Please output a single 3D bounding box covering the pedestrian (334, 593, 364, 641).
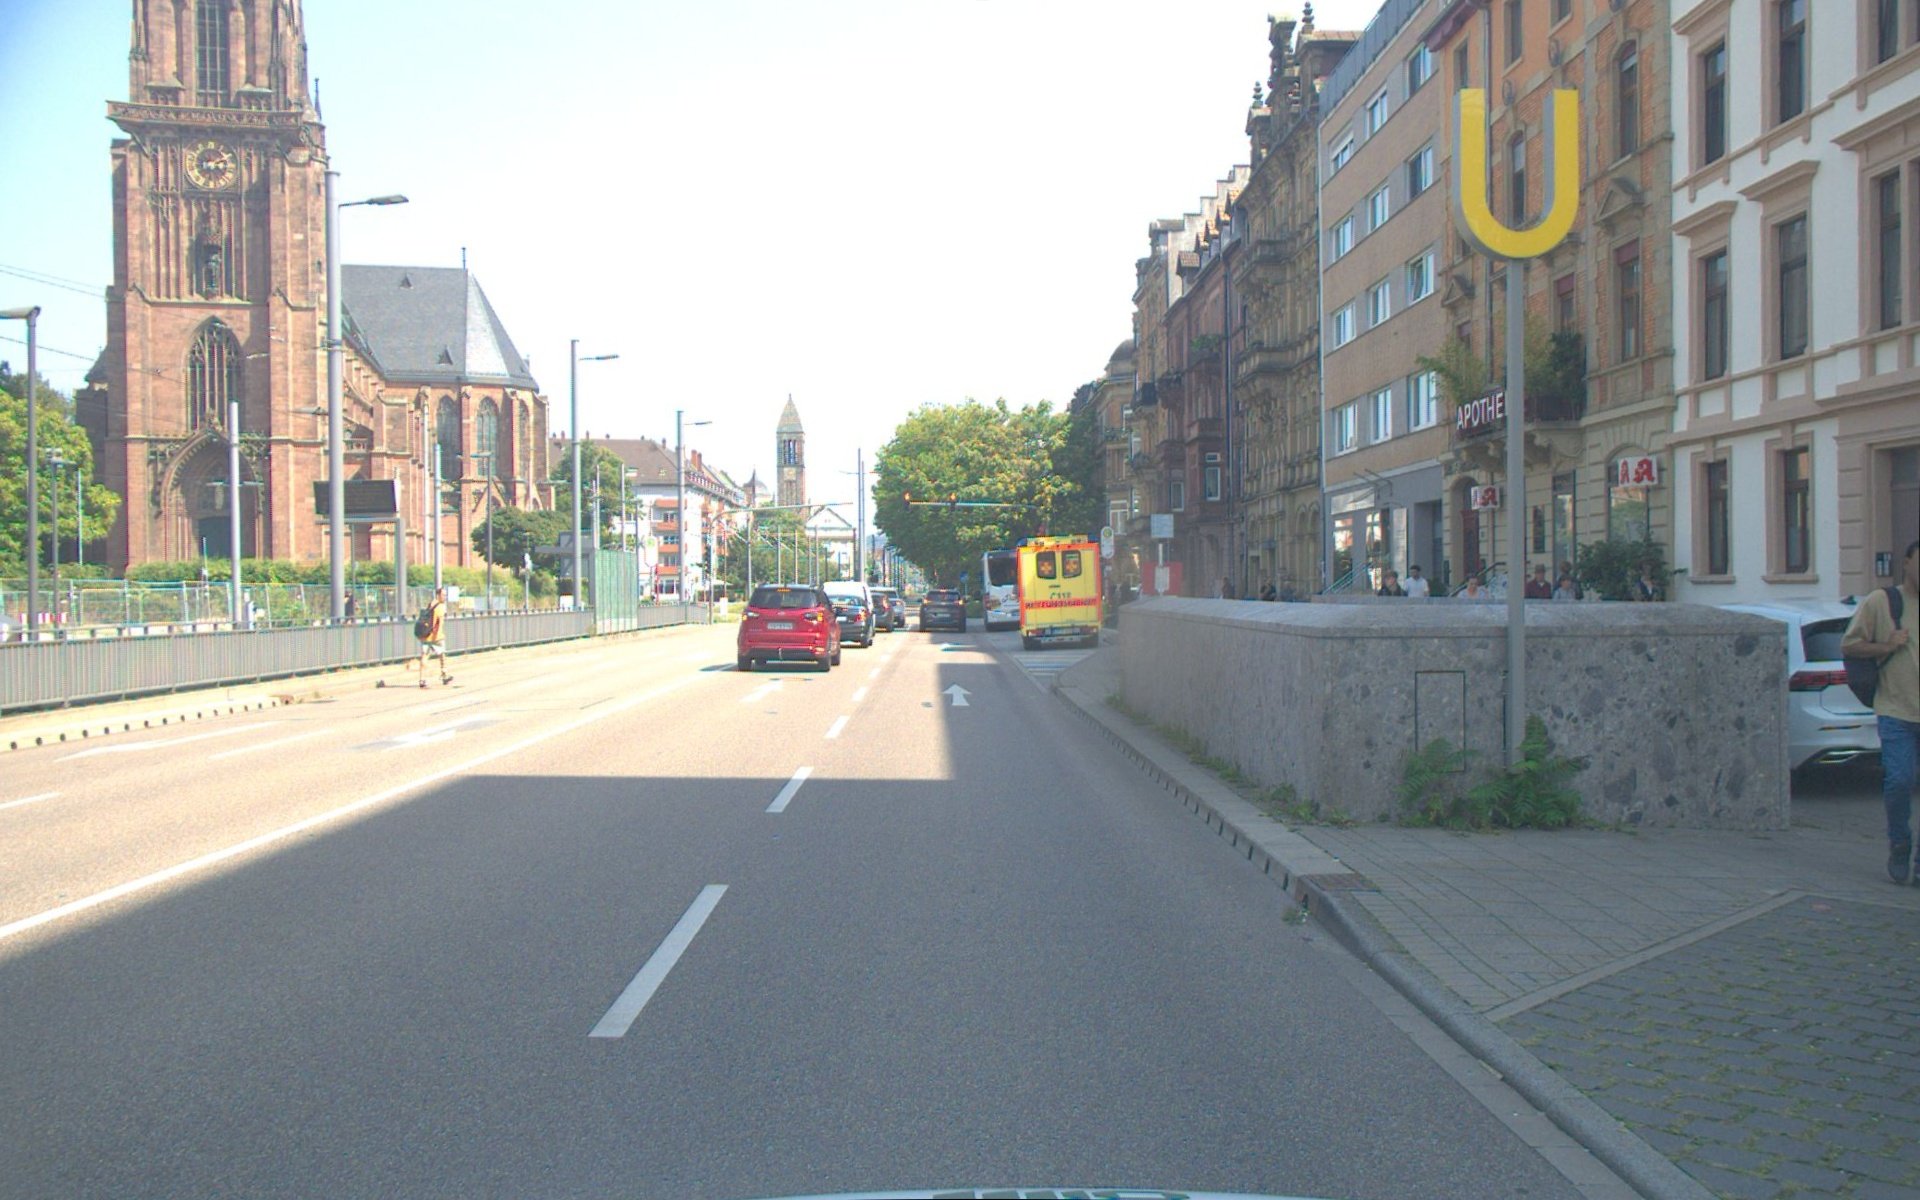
[{"bbox_3d":[-23.051,0.624,62.404,0.812,1.782,0.720,-1,-1,0],"label":"pedestrian"}]

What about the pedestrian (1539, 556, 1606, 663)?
[{"bbox_3d":[11.002,0.166,29.710,0.826,1.878,0.685,-3,0,-10],"label":"pedestrian"}]

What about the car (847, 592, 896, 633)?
[{"bbox_3d":[-3.342,0.488,62.992,1.754,1.498,3.998,-1,0,-2],"label":"car"}]

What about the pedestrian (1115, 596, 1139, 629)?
[{"bbox_3d":[9.594,0.715,94.994,1.223,1.782,1.526,-1,2,0],"label":"pedestrian"}]

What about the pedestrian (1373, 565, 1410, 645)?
[{"bbox_3d":[9.855,0.112,37.803,0.565,1.780,0.679,-3,0,-1],"label":"pedestrian"}]

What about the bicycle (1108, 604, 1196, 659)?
[{"bbox_3d":[3.857,0.633,33.305,1.739,1.090,0.644,0,0,3],"label":"bicycle"}]

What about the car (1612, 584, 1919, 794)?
[{"bbox_3d":[7.035,0.635,13.941,1.598,1.465,3.619,-1,1,-1],"label":"car"}]

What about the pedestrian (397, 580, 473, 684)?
[{"bbox_3d":[-9.210,0.553,29.050,0.745,1.782,1.069,-1,-1,22],"label":"pedestrian"}]

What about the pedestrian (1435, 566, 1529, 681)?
[{"bbox_3d":[7.500,0.332,23.757,0.842,1.609,0.959,-1,0,-34],"label":"pedestrian"}]

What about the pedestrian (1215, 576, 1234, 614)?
[{"bbox_3d":[11.466,-0.205,71.667,0.611,1.621,0.695,-1,0,-7],"label":"pedestrian"}]

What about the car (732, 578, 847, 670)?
[{"bbox_3d":[-3.250,0.422,32.236,1.726,1.646,4.083,-1,0,1],"label":"car"}]

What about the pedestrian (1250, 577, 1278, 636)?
[{"bbox_3d":[8.951,0.189,48.709,0.630,1.714,0.789,-1,0,-1],"label":"pedestrian"}]

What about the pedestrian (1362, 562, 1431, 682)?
[{"bbox_3d":[6.685,0.329,25.368,0.832,1.759,0.972,-2,2,6],"label":"pedestrian"}]

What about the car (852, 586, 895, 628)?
[{"bbox_3d":[-3.663,0.303,70.645,1.754,1.728,3.998,-1,-1,-2],"label":"car"}]

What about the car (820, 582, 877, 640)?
[{"bbox_3d":[-3.654,0.368,54.848,1.754,1.811,3.998,-1,-1,-2],"label":"car"}]

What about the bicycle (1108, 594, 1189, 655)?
[{"bbox_3d":[3.875,0.506,34.068,1.638,1.237,0.644,0,0,4],"label":"bicycle"}]

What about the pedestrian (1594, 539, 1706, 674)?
[{"bbox_3d":[8.448,0.077,20.261,0.842,1.609,0.959,-1,0,-34],"label":"pedestrian"}]

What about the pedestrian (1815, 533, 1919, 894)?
[{"bbox_3d":[4.983,0.566,8.604,0.849,1.781,0.872,3,2,26],"label":"pedestrian"}]

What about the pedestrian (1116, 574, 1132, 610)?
[{"bbox_3d":[7.844,-0.364,79.035,0.682,1.696,1.064,-1,0,1],"label":"pedestrian"}]

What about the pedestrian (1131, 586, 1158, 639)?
[{"bbox_3d":[5.950,0.405,53.380,0.683,1.696,0.602,-1,0,25],"label":"pedestrian"}]

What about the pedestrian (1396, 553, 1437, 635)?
[{"bbox_3d":[10.414,-0.132,37.769,0.587,1.826,0.880,-3,0,-1],"label":"pedestrian"}]

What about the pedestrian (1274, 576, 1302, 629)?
[{"bbox_3d":[9.656,0.066,48.701,0.630,1.519,0.789,-1,0,-1],"label":"pedestrian"}]

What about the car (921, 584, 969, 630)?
[{"bbox_3d":[-0.607,0.282,64.634,1.754,1.707,3.998,-1,-1,-2],"label":"car"}]

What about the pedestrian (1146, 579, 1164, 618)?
[{"bbox_3d":[8.480,-0.067,71.976,0.682,1.696,0.603,-1,0,1],"label":"pedestrian"}]

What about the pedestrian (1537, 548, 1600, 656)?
[{"bbox_3d":[10.406,0.017,28.297,0.670,1.805,1.017,-1,1,-1],"label":"pedestrian"}]

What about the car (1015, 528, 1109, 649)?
[{"bbox_3d":[2.680,-0.322,44.145,2.251,2.939,5.601,-2,1,3],"label":"car"}]

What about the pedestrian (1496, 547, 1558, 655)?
[{"bbox_3d":[9.672,0.002,28.244,0.670,1.805,1.017,-1,1,-1],"label":"pedestrian"}]

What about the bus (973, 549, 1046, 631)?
[{"bbox_3d":[1.943,-0.420,68.941,2.482,3.085,12.434,-1,0,-1],"label":"bus"}]

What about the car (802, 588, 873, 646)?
[{"bbox_3d":[-3.254,0.423,44.595,1.754,1.456,3.998,-1,0,-2],"label":"car"}]
